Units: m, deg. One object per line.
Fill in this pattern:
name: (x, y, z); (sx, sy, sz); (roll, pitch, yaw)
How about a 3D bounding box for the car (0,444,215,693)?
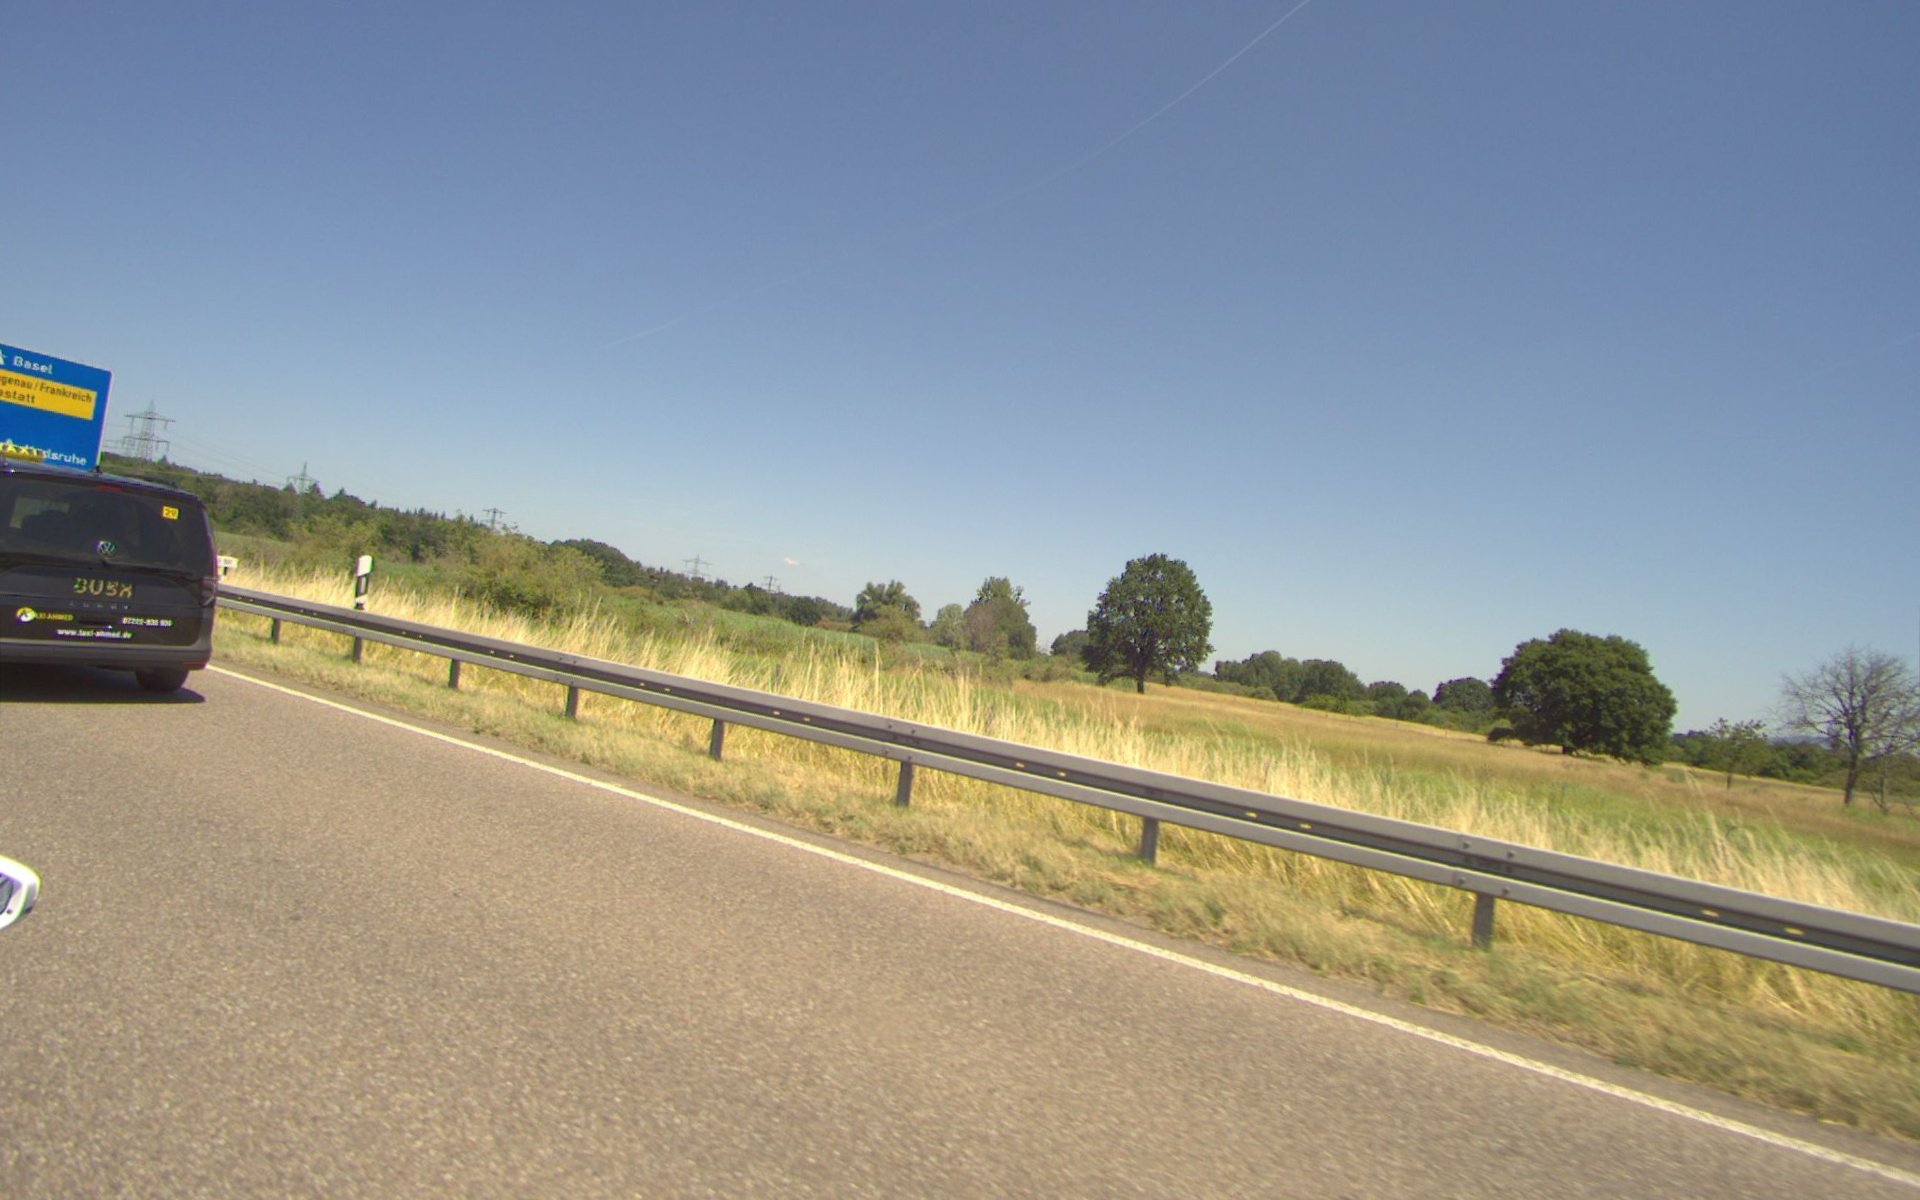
car: (-8.772, -0.412, 9.003); (4.142, 1.838, 1.784); (7, -2, 31)
